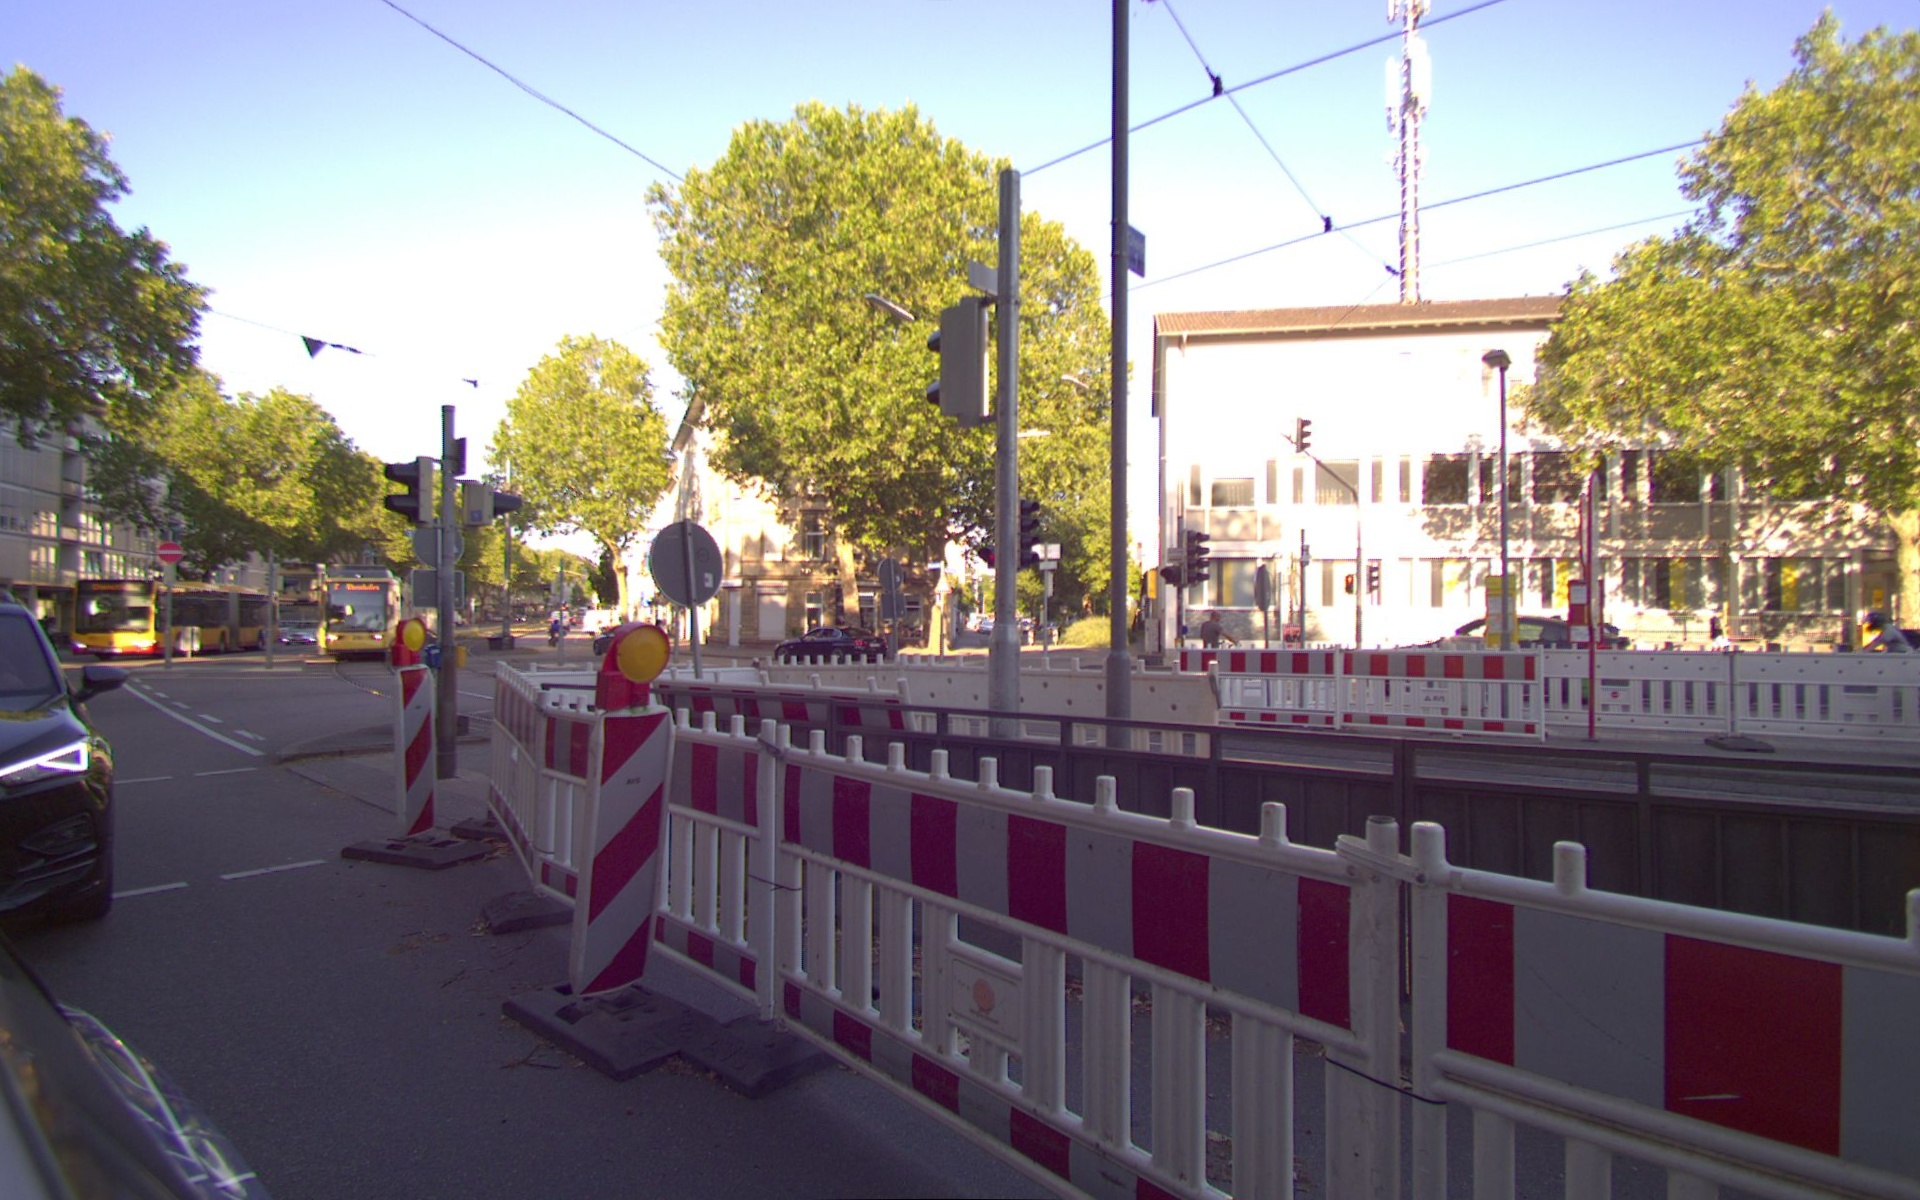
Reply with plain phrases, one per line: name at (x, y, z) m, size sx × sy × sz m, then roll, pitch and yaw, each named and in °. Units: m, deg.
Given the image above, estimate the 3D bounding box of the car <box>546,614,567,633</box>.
car at (-48.174, 2.830, 120.976) m, size 2.131 × 2.138 × 4.994 m, roll 2°, pitch -3°, yaw -20°

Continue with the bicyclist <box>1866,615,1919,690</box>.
bicyclist at (16.761, 0.928, 18.033) m, size 0.803 × 1.304 × 0.555 m, roll -1°, pitch -2°, yaw 34°

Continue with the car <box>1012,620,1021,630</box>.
car at (11.153, 4.914, 199.632) m, size 1.828 × 2.031 × 3.994 m, roll 0°, pitch -1°, yaw 4°

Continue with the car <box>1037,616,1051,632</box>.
car at (11.187, 3.224, 135.617) m, size 1.828 × 2.160 × 3.994 m, roll 0°, pitch -1°, yaw 4°

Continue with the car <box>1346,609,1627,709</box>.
car at (10.013, 1.057, 19.379) m, size 4.576 × 1.680 × 1.878 m, roll -1°, pitch 0°, yaw 35°

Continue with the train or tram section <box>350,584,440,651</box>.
train or tram section at (-32.172, 1.015, 58.052) m, size 2.830 × 3.514 × 10.371 m, roll 0°, pitch -1°, yaw -20°

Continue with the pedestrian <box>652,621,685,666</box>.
pedestrian at (-10.031, 1.499, 34.854) m, size 0.795 × 1.520 × 0.793 m, roll -1°, pitch -2°, yaw 17°

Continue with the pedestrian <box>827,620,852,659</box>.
pedestrian at (-5.499, 1.793, 46.197) m, size 0.801 × 1.769 × 0.787 m, roll -1°, pitch -2°, yaw 41°

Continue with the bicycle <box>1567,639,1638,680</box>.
bicycle at (15.866, 1.457, 25.008) m, size 1.457 × 0.974 × 0.407 m, roll -1°, pitch -2°, yaw 33°

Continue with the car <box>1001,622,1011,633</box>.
car at (8.924, 5.270, 195.236) m, size 1.828 × 2.031 × 3.994 m, roll 0°, pitch -1°, yaw 4°

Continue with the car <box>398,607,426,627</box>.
car at (-51.147, 1.551, 94.435) m, size 1.923 × 1.791 × 4.013 m, roll 1°, pitch -1°, yaw -23°

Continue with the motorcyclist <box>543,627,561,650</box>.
motorcyclist at (-24.165, 2.259, 59.991) m, size 0.672 × 1.325 × 0.985 m, roll 1°, pitch -1°, yaw -43°

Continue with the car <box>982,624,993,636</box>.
car at (4.693, 5.135, 171.957) m, size 1.828 × 2.031 × 3.994 m, roll 0°, pitch -1°, yaw 4°

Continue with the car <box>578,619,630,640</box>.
car at (-34.029, 2.828, 96.947) m, size 1.895 × 1.991 × 4.604 m, roll -1°, pitch -2°, yaw 29°

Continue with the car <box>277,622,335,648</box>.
car at (-40.342, 2.136, 62.571) m, size 1.880 × 1.486 × 4.431 m, roll 1°, pitch -1°, yaw -17°

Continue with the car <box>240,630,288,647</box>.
car at (-50.894, 2.794, 74.045) m, size 1.198 × 1.226 × 2.599 m, roll 0°, pitch -1°, yaw 34°

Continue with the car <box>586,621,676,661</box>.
car at (-14.432, 1.785, 44.259) m, size 1.924 × 1.667 × 4.694 m, roll 2°, pitch -3°, yaw -43°

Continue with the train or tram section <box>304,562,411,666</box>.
train or tram section at (-23.265, 0.586, 39.555) m, size 2.776 × 3.514 × 10.372 m, roll 0°, pitch -1°, yaw -26°

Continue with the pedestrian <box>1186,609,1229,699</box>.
pedestrian at (4.934, 1.065, 20.202) m, size 0.588 × 1.772 × 0.597 m, roll 1°, pitch -2°, yaw -43°

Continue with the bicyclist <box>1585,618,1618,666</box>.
bicyclist at (15.860, 1.037, 25.022) m, size 0.661 × 1.182 × 0.407 m, roll -1°, pitch -2°, yaw 32°

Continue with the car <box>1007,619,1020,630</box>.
car at (7.150, 3.276, 134.872) m, size 1.705 × 1.505 × 3.994 m, roll 0°, pitch -1°, yaw 4°

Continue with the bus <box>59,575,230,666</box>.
bus at (-31.816, 0.835, 40.007) m, size 2.707 × 3.127 × 9.528 m, roll 1°, pitch -2°, yaw -23°

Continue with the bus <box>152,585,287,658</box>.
bus at (-35.378, 1.059, 48.811) m, size 2.707 × 3.127 × 9.527 m, roll 1°, pitch -2°, yaw -20°

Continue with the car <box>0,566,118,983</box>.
car at (-5.759, 0.737, 5.178) m, size 4.300 × 1.670 × 1.823 m, roll -2°, pitch -1°, yaw 45°

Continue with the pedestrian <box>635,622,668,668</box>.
pedestrian at (-10.379, 1.492, 34.065) m, size 0.794 × 1.520 × 0.794 m, roll 0°, pitch -2°, yaw 12°

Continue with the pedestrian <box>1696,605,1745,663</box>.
pedestrian at (23.187, 1.043, 30.879) m, size 0.875 × 1.742 × 0.805 m, roll 0°, pitch -2°, yaw 10°

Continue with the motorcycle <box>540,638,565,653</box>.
motorcycle at (-24.168, 2.681, 59.992) m, size 0.672 × 0.814 × 1.997 m, roll 1°, pitch -1°, yaw -43°

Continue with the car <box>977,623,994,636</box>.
car at (2.901, 3.348, 115.126) m, size 1.705 × 1.505 × 3.994 m, roll 0°, pitch -1°, yaw 4°

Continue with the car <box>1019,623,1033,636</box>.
car at (7.890, 3.466, 120.423) m, size 1.705 × 1.505 × 3.994 m, roll 0°, pitch -1°, yaw 4°

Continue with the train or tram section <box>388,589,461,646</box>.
train or tram section at (-35.718, 1.203, 67.872) m, size 2.795 × 3.514 × 10.371 m, roll 0°, pitch -1°, yaw -19°

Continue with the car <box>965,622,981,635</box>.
car at (1.548, 3.420, 121.152) m, size 1.705 × 1.505 × 3.994 m, roll 0°, pitch -1°, yaw 4°

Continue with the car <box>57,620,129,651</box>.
car at (-44.001, 1.805, 51.443) m, size 1.624 × 1.483 × 3.720 m, roll 0°, pitch -2°, yaw -22°

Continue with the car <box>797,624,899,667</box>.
car at (-4.168, 1.642, 37.042) m, size 1.966 × 1.459 × 4.551 m, roll 1°, pitch -3°, yaw -32°

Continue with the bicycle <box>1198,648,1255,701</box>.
bicycle at (5.238, 1.439, 19.846) m, size 1.558 × 0.973 × 0.322 m, roll 1°, pitch -2°, yaw -44°

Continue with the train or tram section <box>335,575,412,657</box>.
train or tram section at (-28.069, 0.805, 48.752) m, size 2.795 × 3.514 × 10.371 m, roll 1°, pitch -1°, yaw -28°

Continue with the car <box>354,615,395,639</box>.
car at (-45.963, 2.085, 79.495) m, size 1.923 × 1.791 × 4.012 m, roll 1°, pitch -1°, yaw -18°
